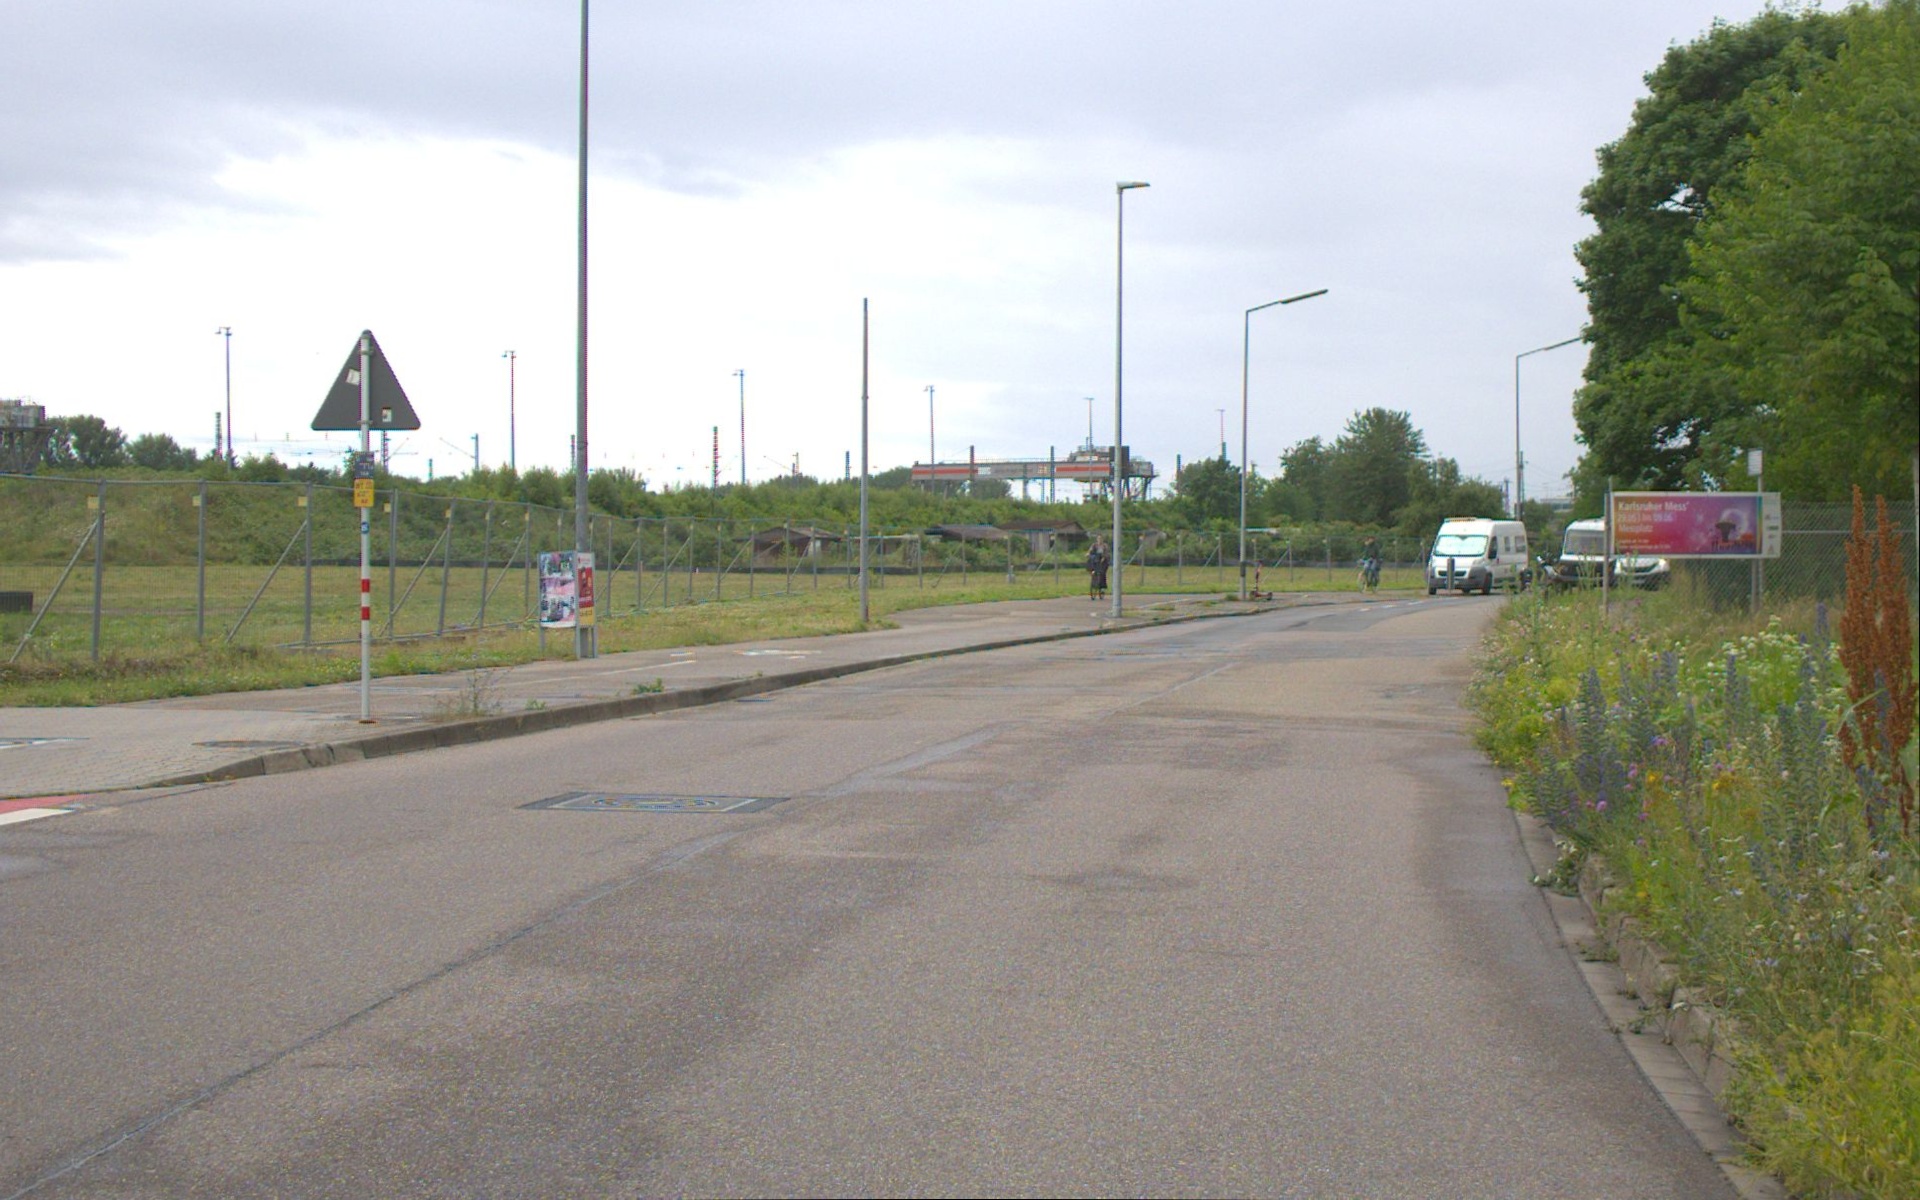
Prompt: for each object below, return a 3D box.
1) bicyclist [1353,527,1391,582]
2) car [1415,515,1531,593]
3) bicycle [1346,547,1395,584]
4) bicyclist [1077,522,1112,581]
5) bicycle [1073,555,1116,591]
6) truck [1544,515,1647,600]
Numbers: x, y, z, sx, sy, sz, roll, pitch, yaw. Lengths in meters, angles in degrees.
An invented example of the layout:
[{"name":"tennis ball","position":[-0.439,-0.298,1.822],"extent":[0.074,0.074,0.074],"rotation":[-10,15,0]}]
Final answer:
[{"name":"bicyclist","position":[13.652,-1.513,113.923],"extent":[0.828,1.815,1.328],"rotation":[1,2,27]},{"name":"car","position":[17.220,-1.560,115.107],"extent":[2.292,2.547,6.403],"rotation":[0,1,23]},{"name":"bicycle","position":[13.604,-1.146,113.820],"extent":[0.820,1.200,2.553],"rotation":[1,2,26]},{"name":"bicyclist","position":[3.483,-1.258,89.016],"extent":[0.782,1.521,1.093],"rotation":[0,2,10]},{"name":"bicycle","position":[3.496,-0.708,89.087],"extent":[0.803,0.904,2.231],"rotation":[0,2,10]},{"name":"truck","position":[24.096,-1.639,130.086],"extent":[2.343,3.052,7.489],"rotation":[-2,1,21]}]
